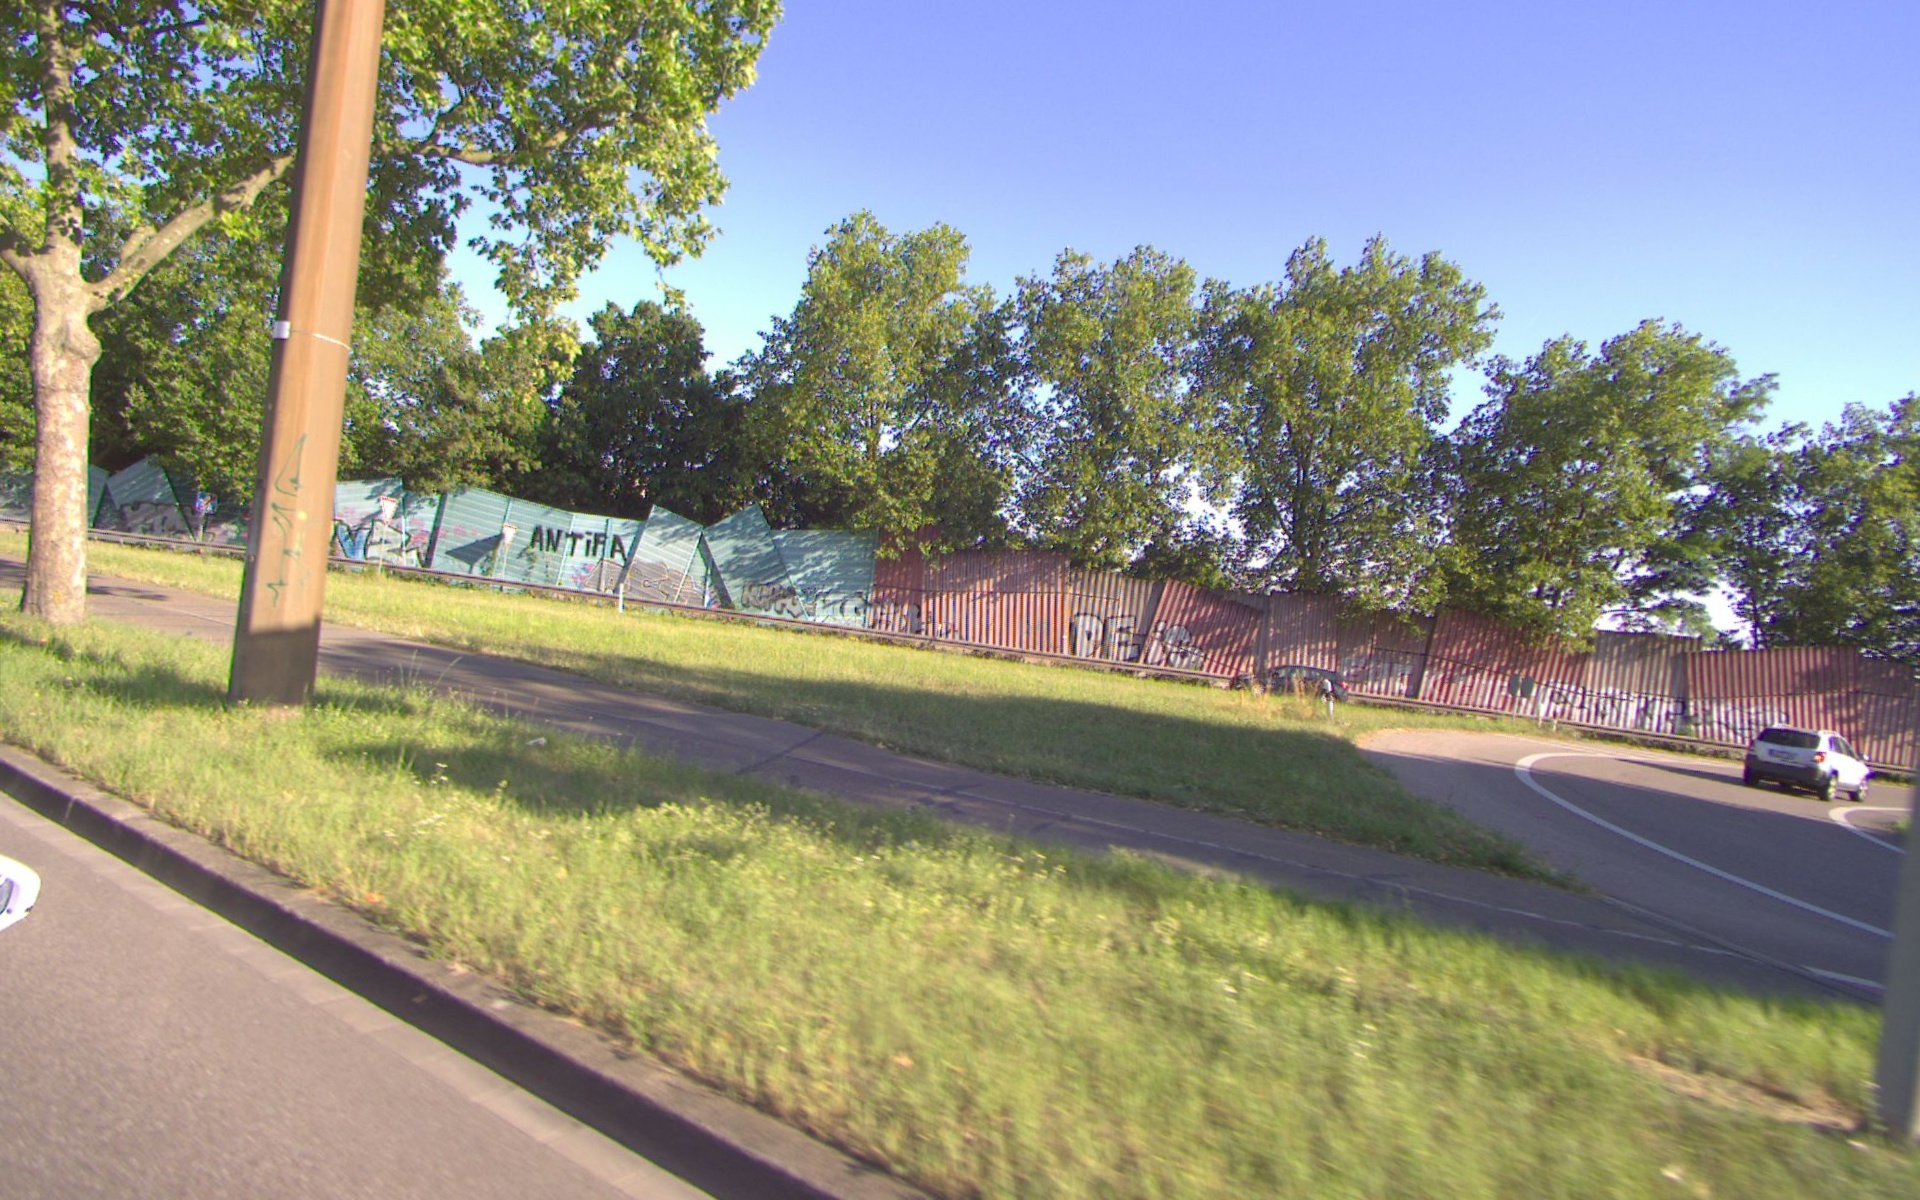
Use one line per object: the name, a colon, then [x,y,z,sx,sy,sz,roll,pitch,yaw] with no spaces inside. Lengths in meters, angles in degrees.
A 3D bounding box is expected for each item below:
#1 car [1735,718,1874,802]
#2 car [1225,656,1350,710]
car: [22.419,4.258,26.669,3.829,1.793,1.798,8,-1,-35]
car: [12.489,3.158,38.578,4.143,1.457,1.800,7,-1,6]
